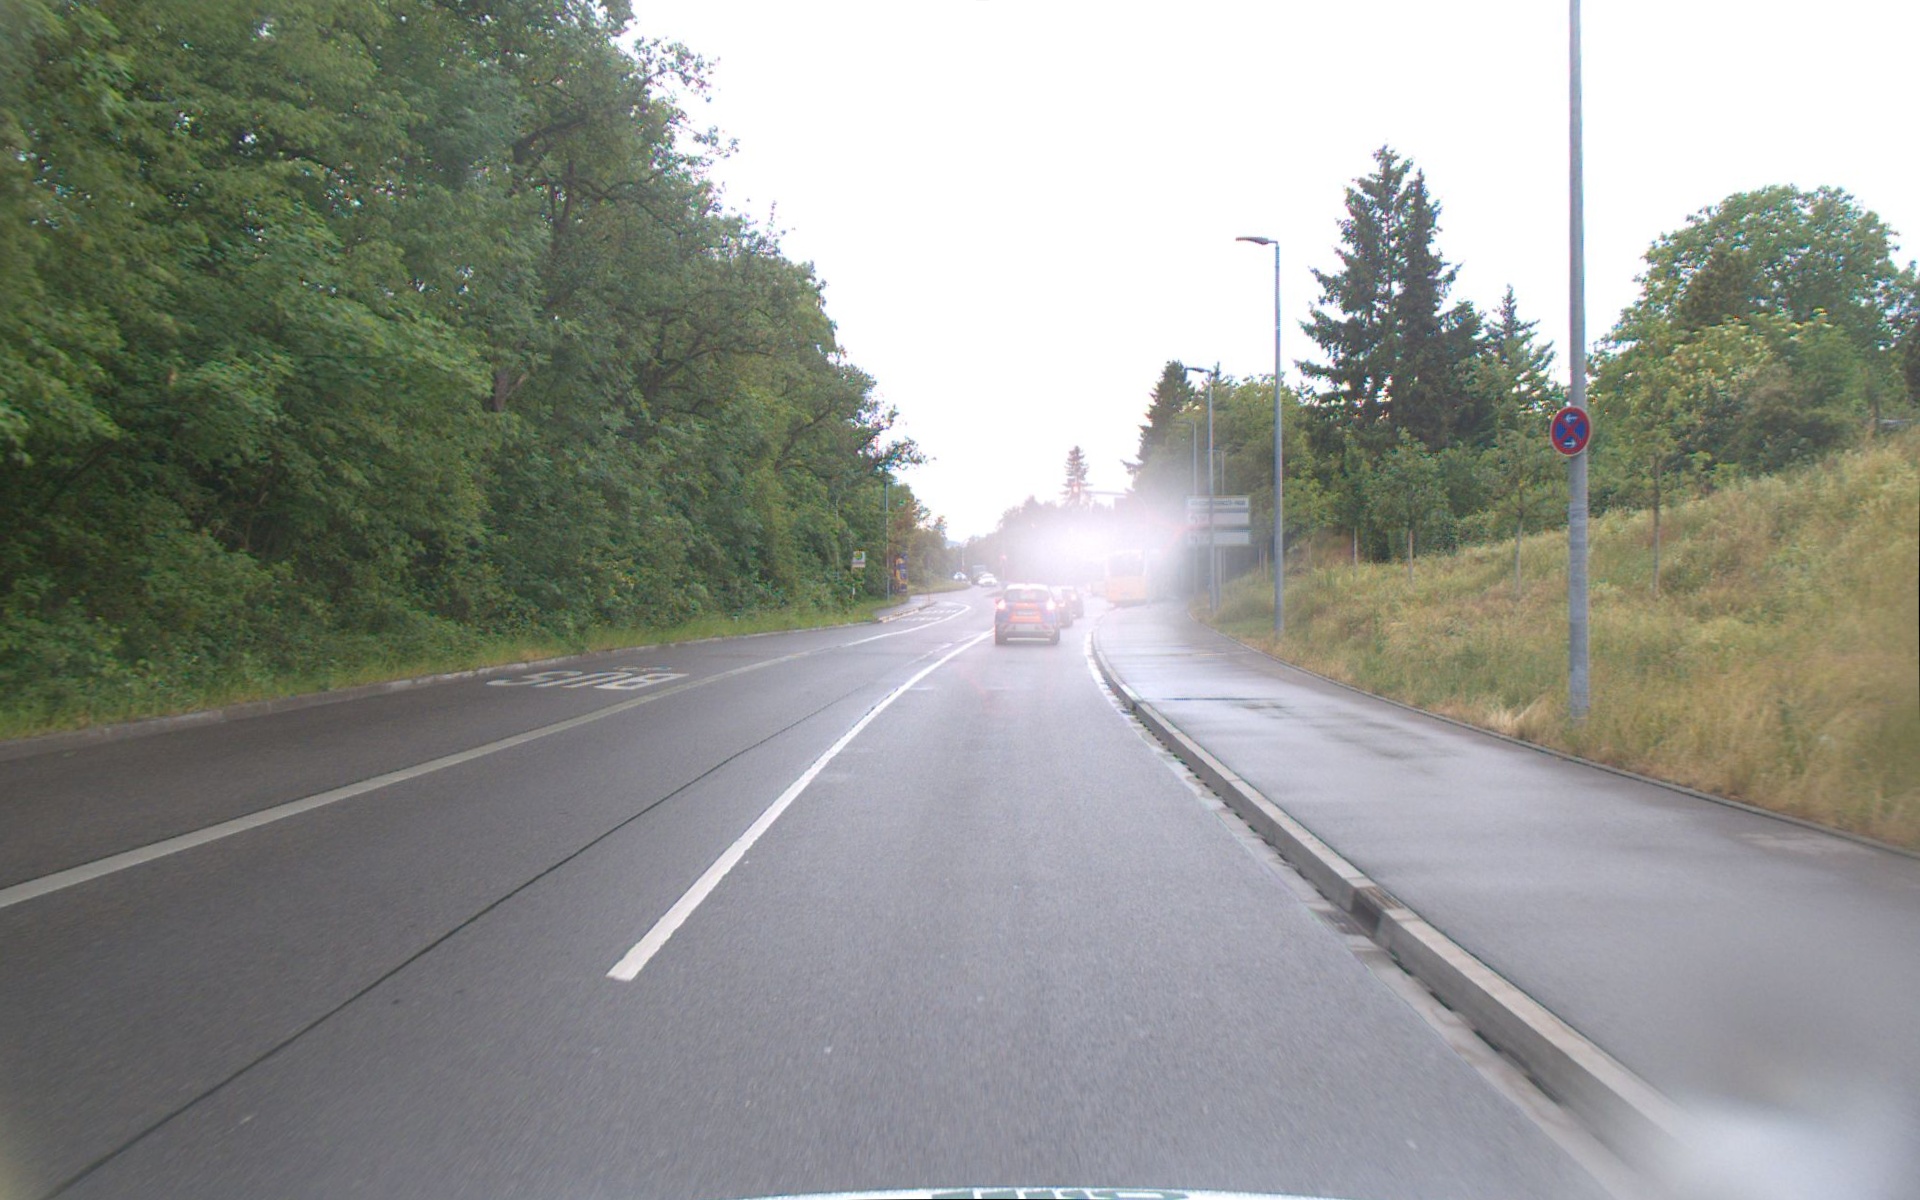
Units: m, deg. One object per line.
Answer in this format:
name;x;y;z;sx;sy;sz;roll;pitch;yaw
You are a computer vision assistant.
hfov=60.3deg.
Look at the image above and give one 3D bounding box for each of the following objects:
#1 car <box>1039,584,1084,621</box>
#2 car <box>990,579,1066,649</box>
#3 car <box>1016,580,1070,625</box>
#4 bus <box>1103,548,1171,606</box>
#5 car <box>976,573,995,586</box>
car;4.497;0.114;73.739;1.952;1.579;4.002;0;0;3
car;1.833;0.336;44.981;1.952;1.718;4.002;-1;1;2
car;3.051;0.066;61.352;1.887;1.512;3.801;-1;1;2
bus;10.258;-1.260;95.232;2.757;3.197;9.188;0;0;13
car;3.014;-2.393;195.921;1.953;1.445;3.998;0;0;-2
